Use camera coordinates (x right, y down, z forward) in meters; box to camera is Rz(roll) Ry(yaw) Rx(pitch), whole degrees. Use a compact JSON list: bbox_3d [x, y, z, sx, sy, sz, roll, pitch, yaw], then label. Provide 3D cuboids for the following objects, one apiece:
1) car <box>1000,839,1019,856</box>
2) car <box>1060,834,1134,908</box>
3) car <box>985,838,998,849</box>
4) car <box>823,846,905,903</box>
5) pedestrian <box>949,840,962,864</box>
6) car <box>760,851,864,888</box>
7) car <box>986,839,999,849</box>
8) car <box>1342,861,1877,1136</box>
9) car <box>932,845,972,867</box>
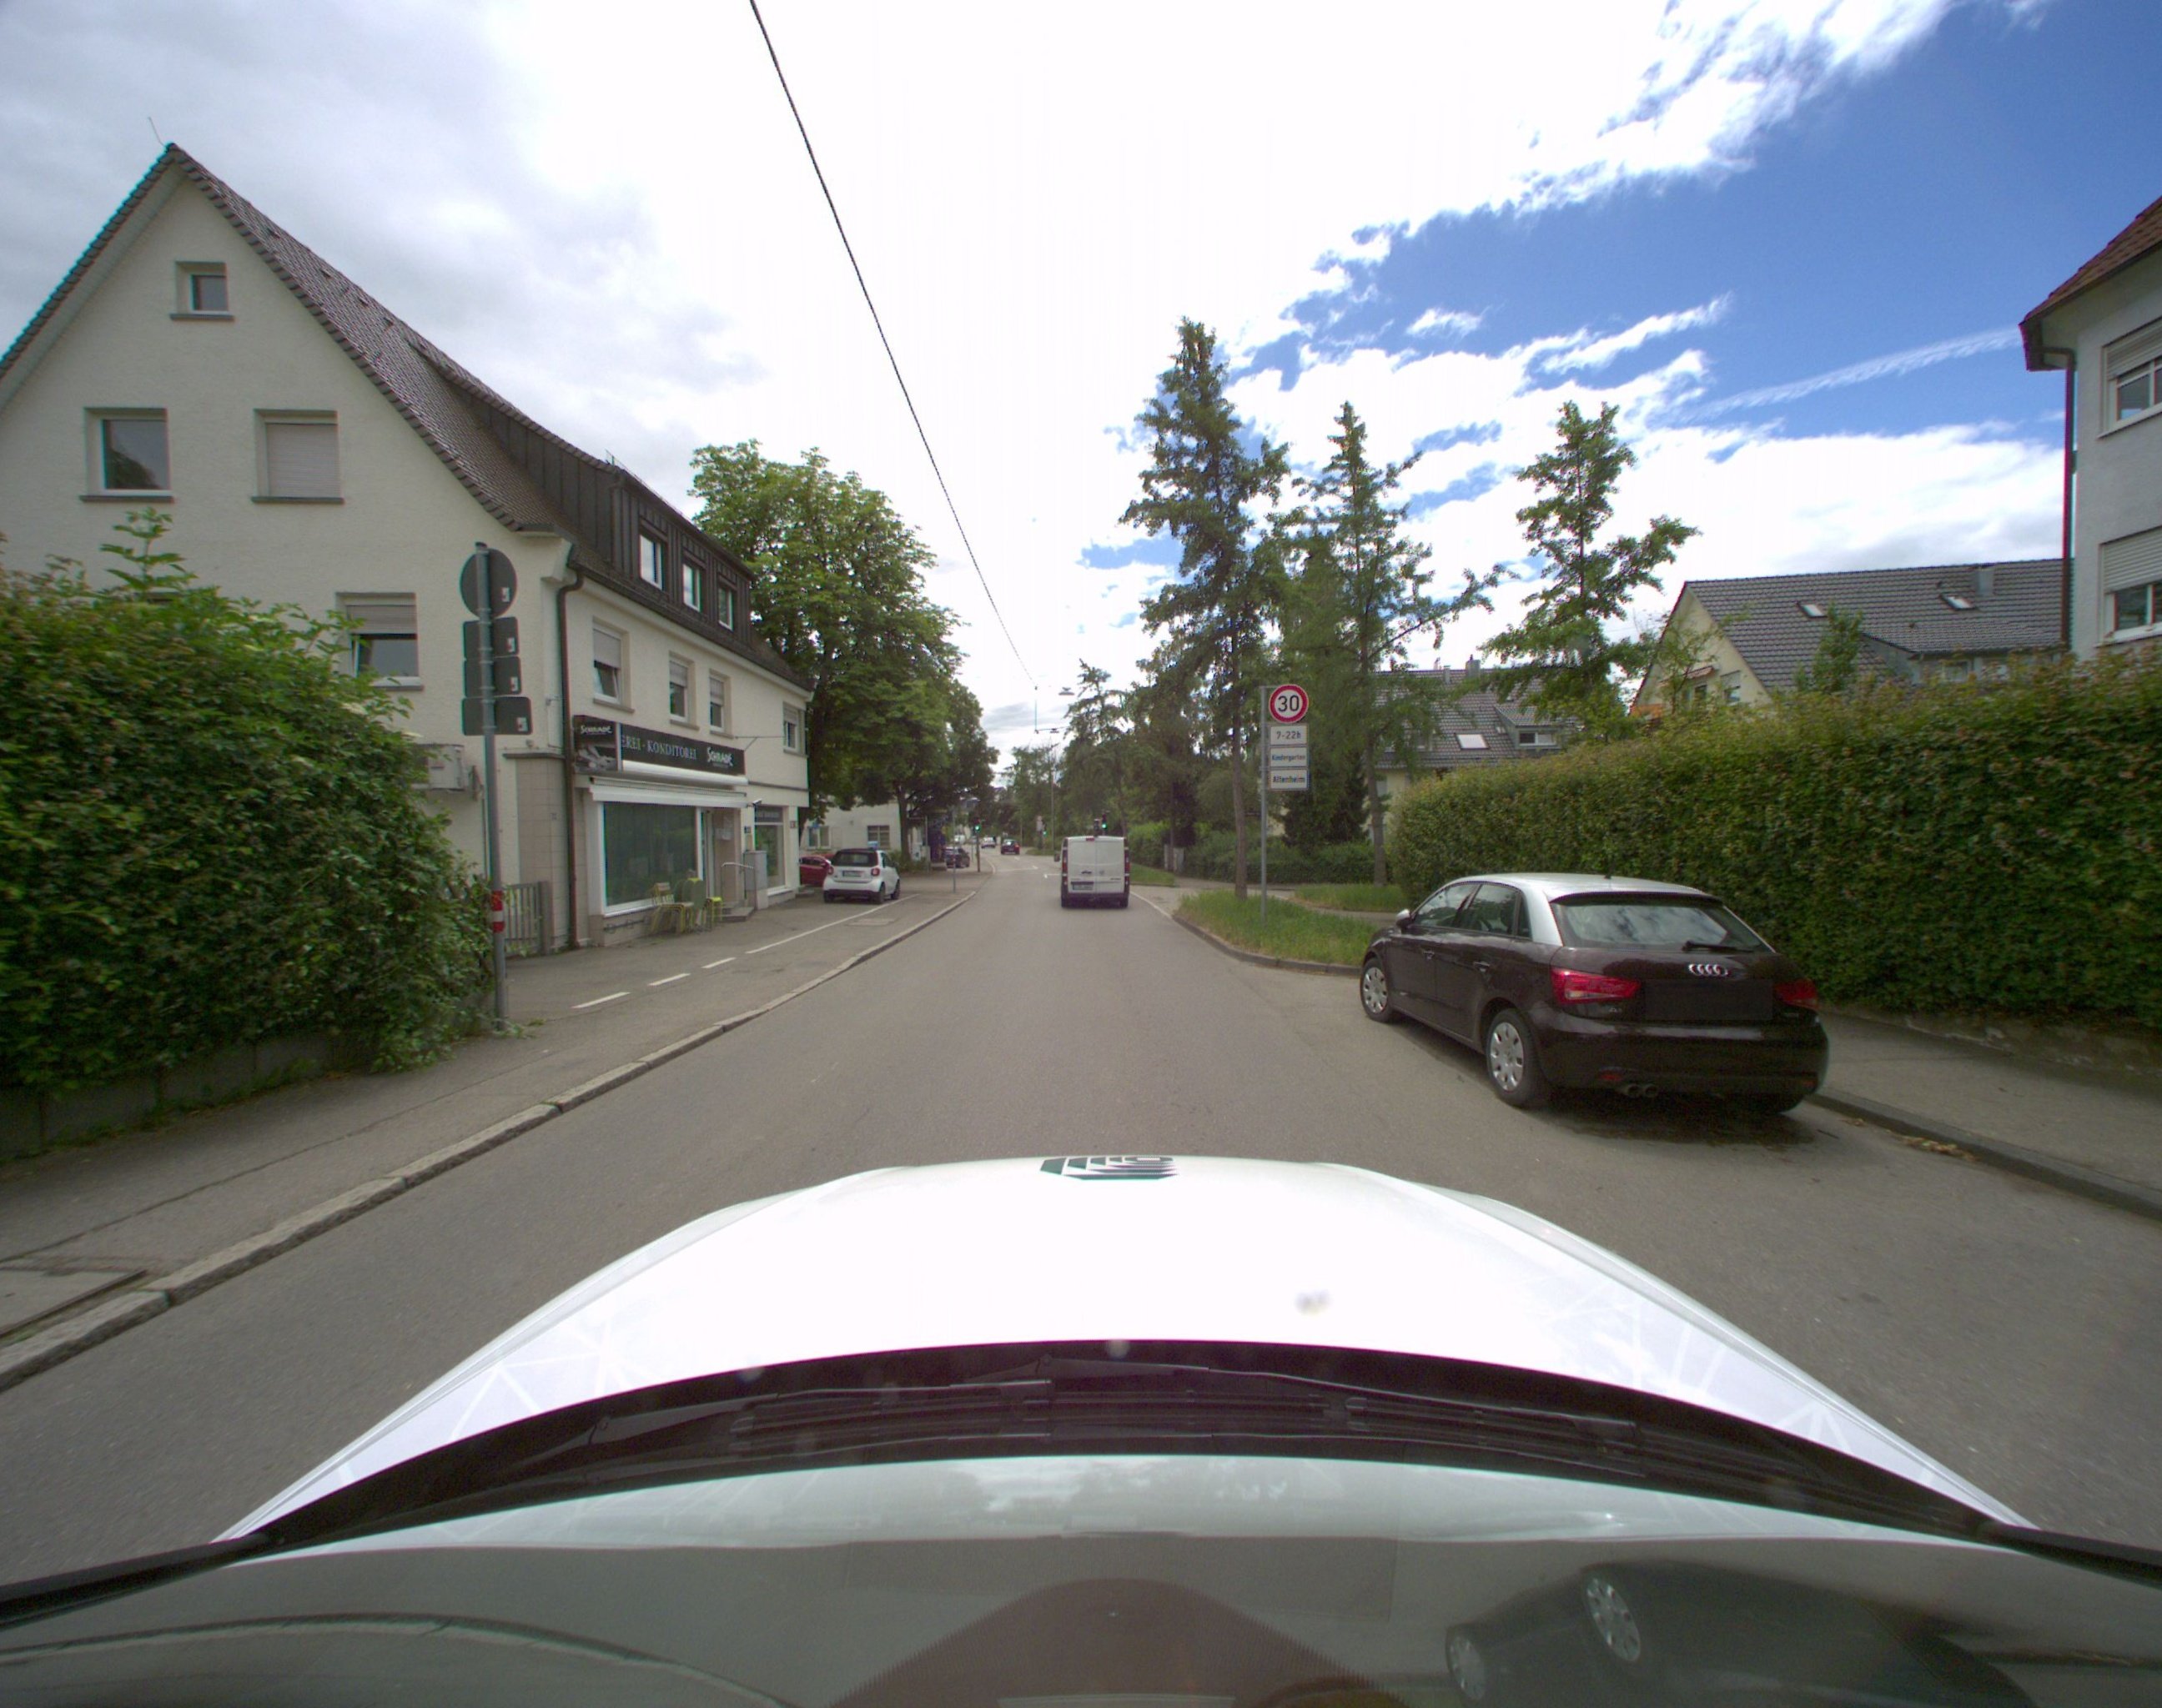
[{"bbox_3d":[-7.917,-0.751,90.241,1.895,1.859,4.394,0,1,-7],"label":"car"},{"bbox_3d":[0.371,0.411,23.732,1.925,1.964,4.399,0,1,-2],"label":"car"},{"bbox_3d":[-13.698,-1.633,124.248,1.825,1.727,3.988,0,1,-9],"label":"car"},{"bbox_3d":[-6.360,0.565,24.170,1.583,1.538,2.923,2,1,0],"label":"car"},{"bbox_3d":[-9.652,-0.154,62.673,0.882,1.750,0.960,1,0,-11],"label":"pedestrian"},{"bbox_3d":[-11.884,0.663,36.015,4.181,1.432,1.827,0,3,25],"label":"car"},{"bbox_3d":[-15.675,-1.767,144.335,1.896,1.611,4.481,0,1,-13],"label":"car"},{"bbox_3d":[3.454,0.792,6.277,1.704,1.412,3.791,1,0,1],"label":"car"},{"bbox_3d":[-8.888,0.106,56.495,1.772,1.441,4.529,1,0,3],"label":"car"}]
